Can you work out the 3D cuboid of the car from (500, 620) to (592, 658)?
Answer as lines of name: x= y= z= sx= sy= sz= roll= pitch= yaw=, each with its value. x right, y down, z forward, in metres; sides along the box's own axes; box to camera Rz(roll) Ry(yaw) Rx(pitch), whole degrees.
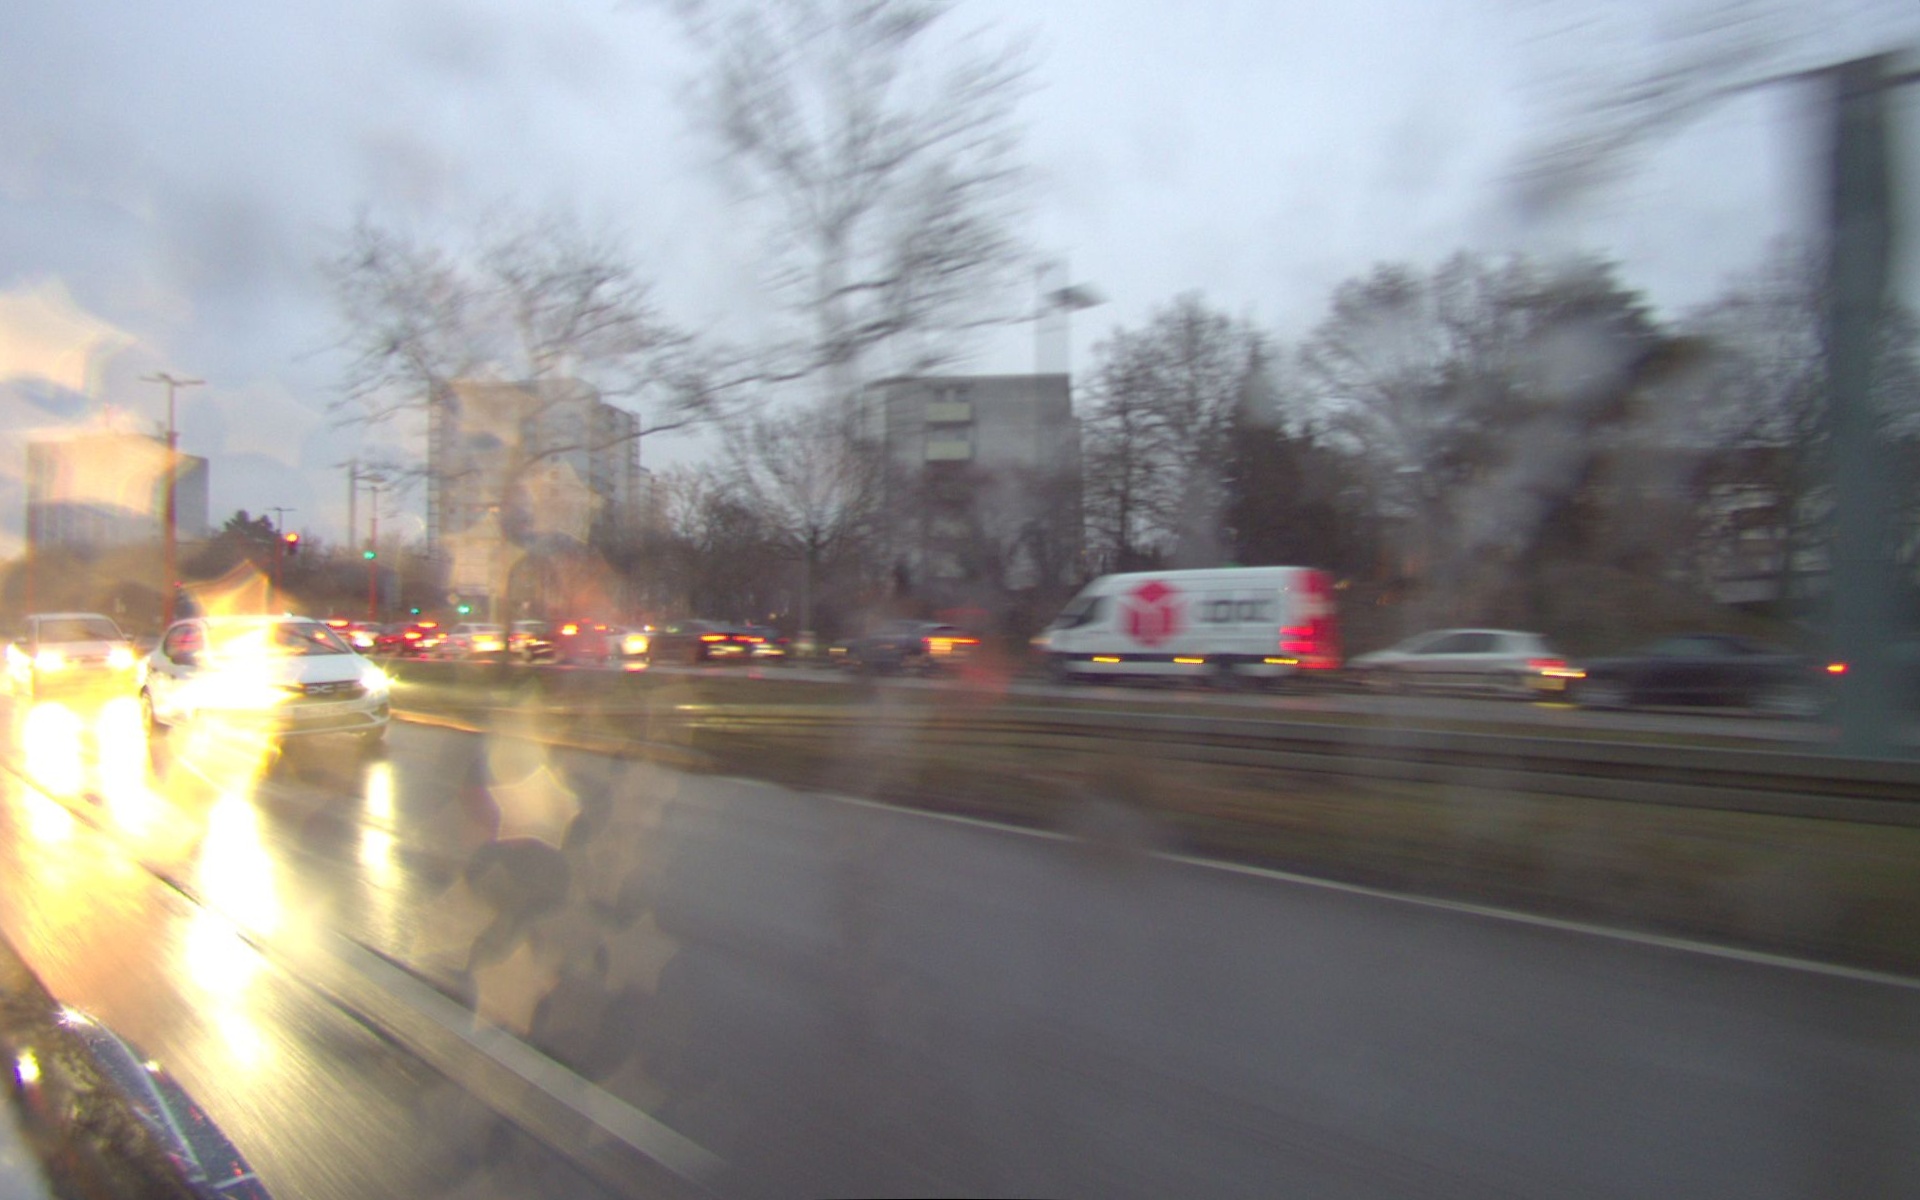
car: x=-17.646 y=1.640 z=43.037 sx=4.436 sy=1.506 sz=1.752 roll=-1 pitch=-2 yaw=40

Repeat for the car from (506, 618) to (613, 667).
car: x=-13.895 y=1.451 z=35.046 sx=4.030 sy=1.598 sz=1.752 roll=-1 pitch=-2 yaw=40

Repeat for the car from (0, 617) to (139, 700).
car: x=-18.842 y=1.154 z=21.266 sx=4.186 sy=1.551 sz=1.673 roll=-1 pitch=0 yaw=40

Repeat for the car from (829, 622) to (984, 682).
car: x=-1.579 y=1.416 z=28.570 sx=4.444 sy=1.548 sz=1.751 roll=-1 pitch=-2 yaw=42

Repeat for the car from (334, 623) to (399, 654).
car: x=-28.193 y=1.809 z=48.074 sx=3.323 sy=1.431 sz=1.635 roll=-1 pitch=-2 yaw=40

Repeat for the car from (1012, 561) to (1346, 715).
car: x=4.767 y=0.738 z=23.204 sx=7.345 sy=3.027 sz=2.267 roll=0 pitch=0 yaw=42

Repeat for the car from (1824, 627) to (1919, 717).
car: x=17.166 y=1.214 z=16.876 sx=4.169 sy=1.457 sz=1.718 roll=-1 pitch=-1 yaw=41

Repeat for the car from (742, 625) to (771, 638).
car: x=-25.396 y=3.924 z=126.234 sx=1.979 sy=1.541 sz=4.581 roll=0 pitch=-2 yaw=11

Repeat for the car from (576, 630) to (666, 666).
car: x=-15.249 y=2.116 z=45.424 sx=4.436 sy=1.506 sz=1.752 roll=-1 pitch=-2 yaw=40

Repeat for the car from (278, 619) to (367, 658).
car: x=-26.731 y=1.578 z=42.392 sx=4.836 sy=1.548 sz=1.752 roll=-1 pitch=-2 yaw=40

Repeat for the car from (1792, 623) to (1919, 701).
car: x=19.302 y=1.206 z=19.949 sx=4.439 sy=1.457 sz=1.884 roll=-1 pitch=-1 yaw=41

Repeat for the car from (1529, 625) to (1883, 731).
car: x=12.100 y=1.158 z=16.635 sx=1.882 sy=1.457 sz=4.458 roll=1 pitch=-1 yaw=-45

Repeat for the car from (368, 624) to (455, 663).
car: x=-23.756 y=1.842 z=43.773 sx=4.283 sy=1.611 sz=1.838 roll=-1 pitch=-2 yaw=40

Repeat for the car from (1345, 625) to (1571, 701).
car: x=10.751 y=1.289 z=21.998 sx=4.087 sy=1.457 sz=1.884 roll=-1 pitch=-1 yaw=41

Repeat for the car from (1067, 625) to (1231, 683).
car: x=4.986 y=1.386 z=26.959 sx=3.997 sy=1.409 sz=1.738 roll=-1 pitch=-2 yaw=40

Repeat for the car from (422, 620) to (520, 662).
car: x=-19.072 y=1.572 z=39.395 sx=4.521 sy=1.545 sz=1.752 roll=-1 pitch=-2 yaw=40

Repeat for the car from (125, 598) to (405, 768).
car: x=-8.264 y=0.850 z=11.900 sx=4.144 sy=1.660 sz=1.696 roll=-1 pitch=-2 yaw=41

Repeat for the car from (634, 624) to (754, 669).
car: x=-9.470 y=1.618 z=35.855 sx=4.646 sy=1.501 sz=1.752 roll=-1 pitch=-2 yaw=40

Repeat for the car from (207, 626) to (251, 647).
car: x=-55.189 y=2.763 z=76.418 sx=3.943 sy=1.565 sz=1.752 roll=-1 pitch=-2 yaw=40

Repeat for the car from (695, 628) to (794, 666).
car: x=-8.470 y=1.802 z=39.646 sx=3.997 sy=1.409 sz=1.738 roll=-1 pitch=-2 yaw=40

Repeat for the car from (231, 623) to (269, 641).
car: x=-59.424 y=2.661 z=84.726 sx=4.013 sy=1.506 sz=1.602 roll=-1 pitch=-2 yaw=40

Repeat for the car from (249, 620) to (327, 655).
car: x=-31.652 y=1.746 z=47.620 sx=4.073 sy=1.594 sz=1.839 roll=-1 pitch=-2 yaw=37
